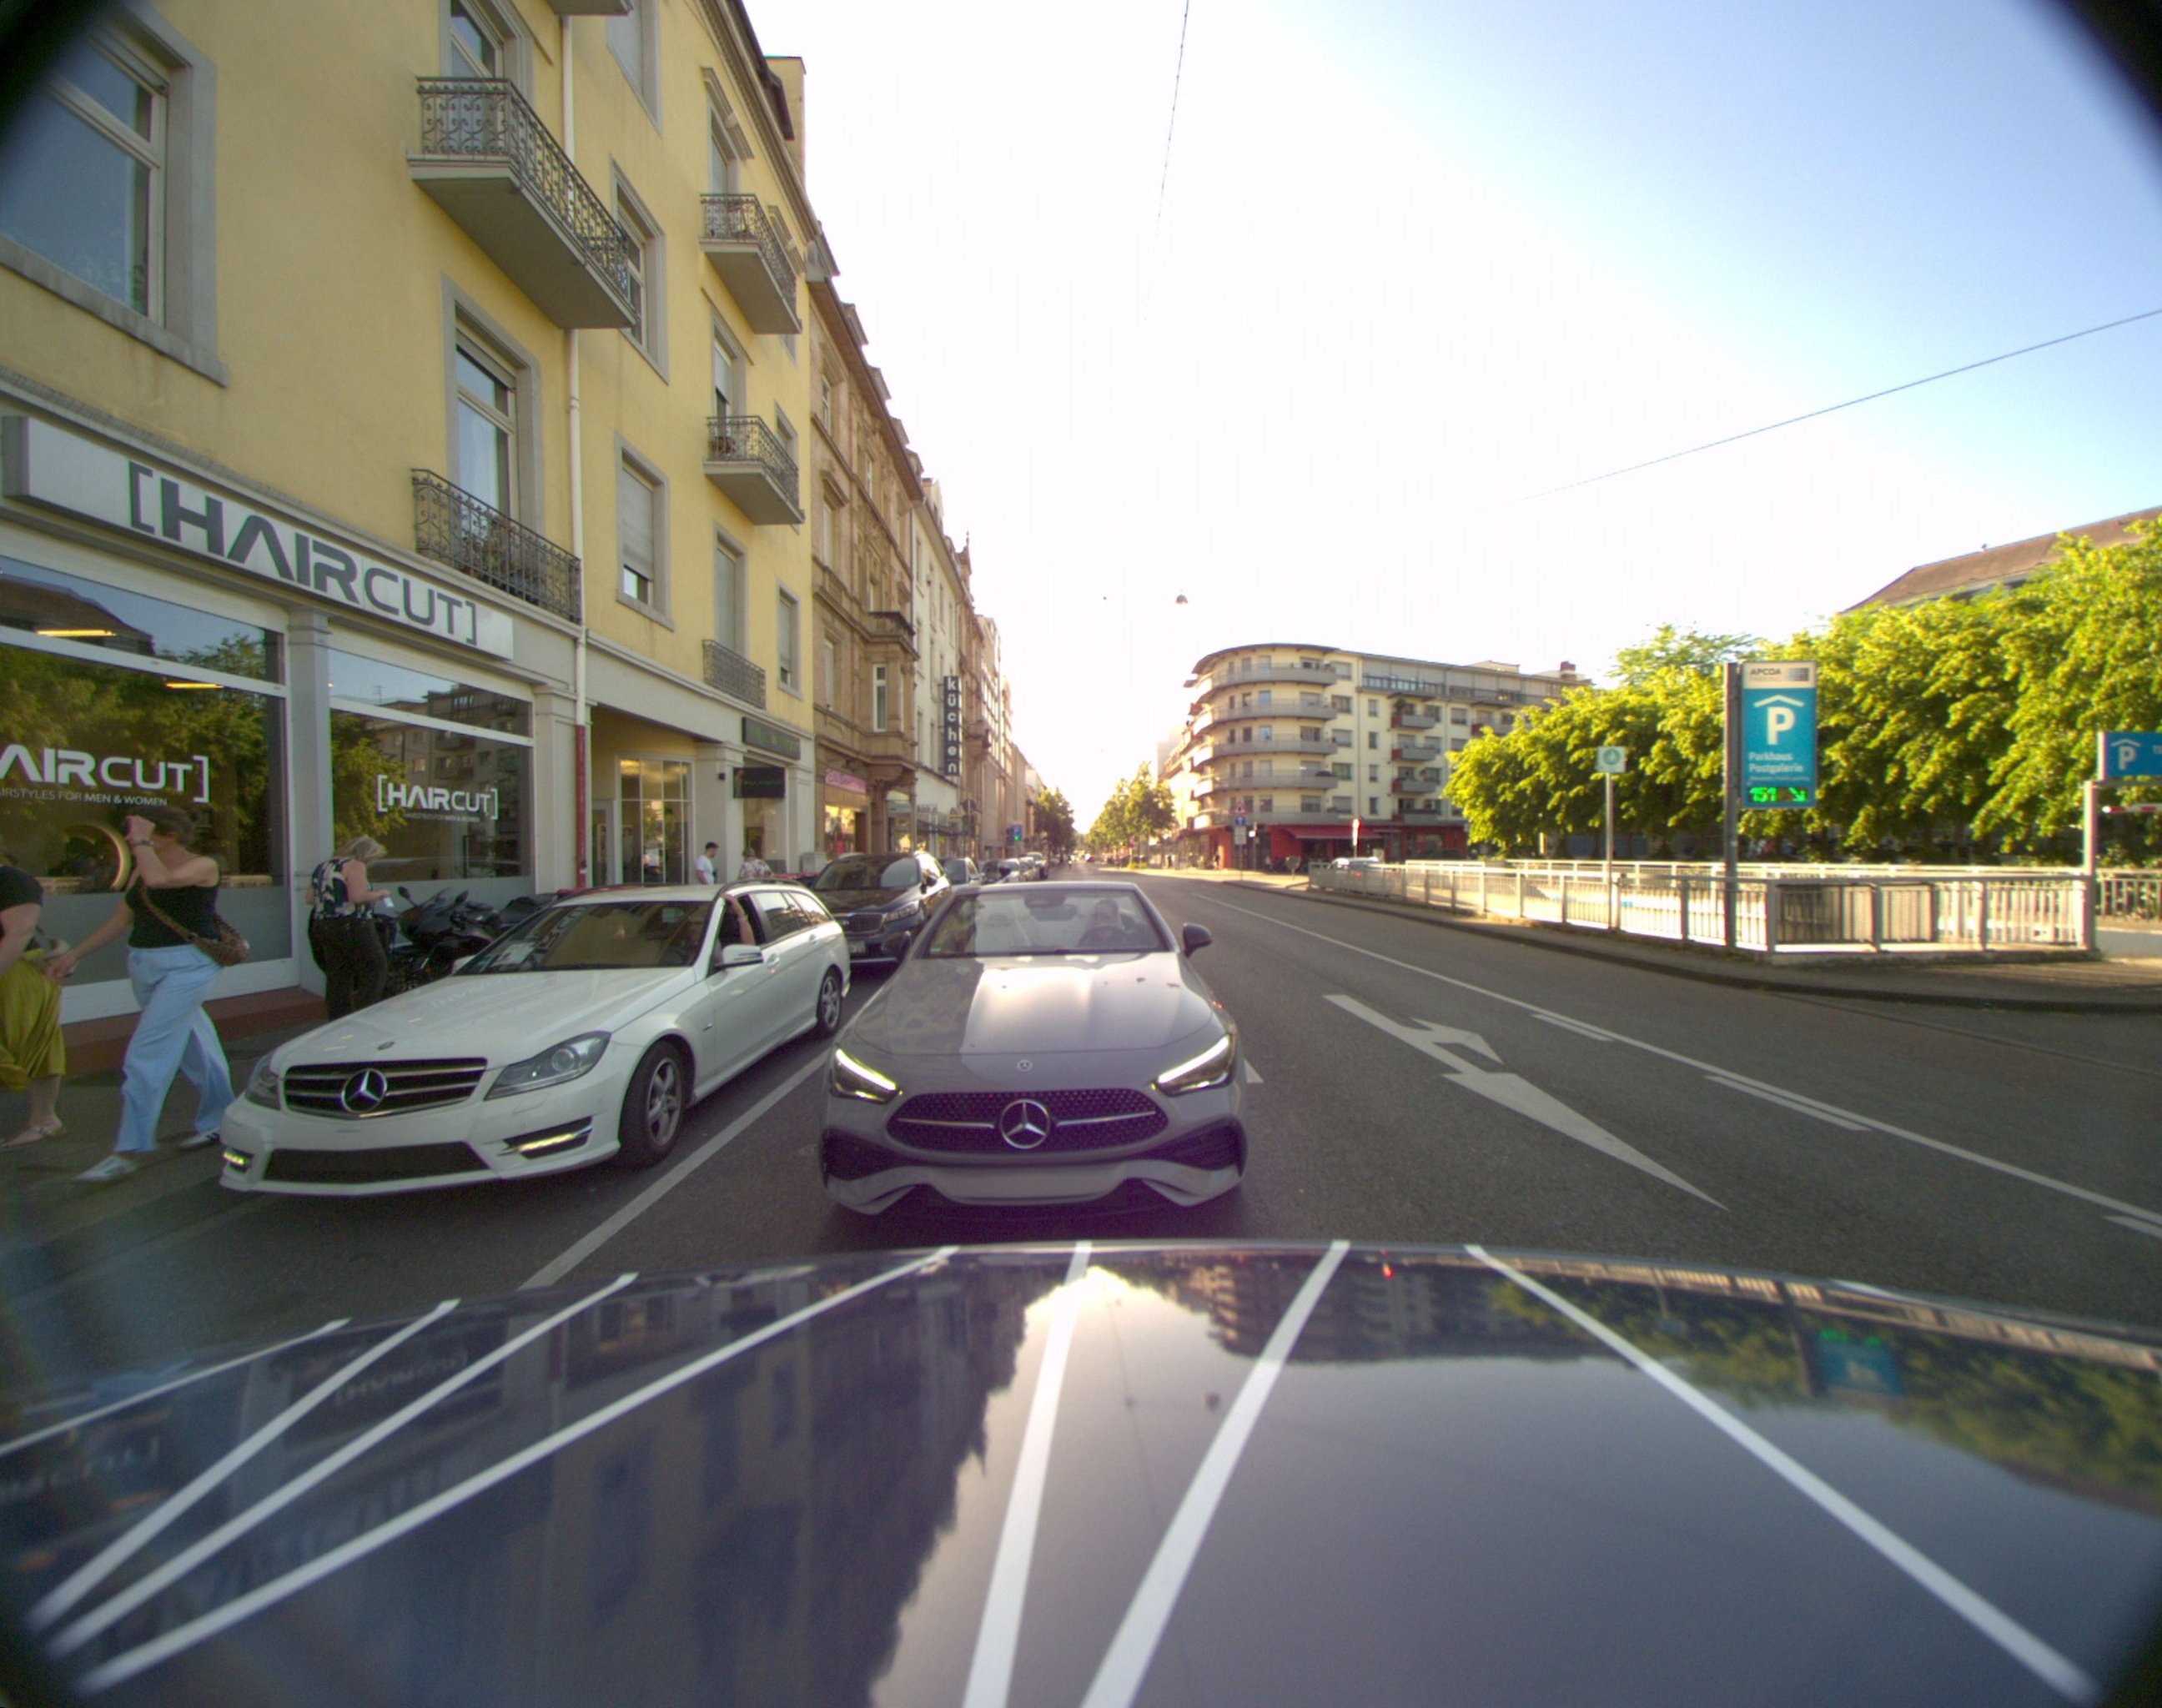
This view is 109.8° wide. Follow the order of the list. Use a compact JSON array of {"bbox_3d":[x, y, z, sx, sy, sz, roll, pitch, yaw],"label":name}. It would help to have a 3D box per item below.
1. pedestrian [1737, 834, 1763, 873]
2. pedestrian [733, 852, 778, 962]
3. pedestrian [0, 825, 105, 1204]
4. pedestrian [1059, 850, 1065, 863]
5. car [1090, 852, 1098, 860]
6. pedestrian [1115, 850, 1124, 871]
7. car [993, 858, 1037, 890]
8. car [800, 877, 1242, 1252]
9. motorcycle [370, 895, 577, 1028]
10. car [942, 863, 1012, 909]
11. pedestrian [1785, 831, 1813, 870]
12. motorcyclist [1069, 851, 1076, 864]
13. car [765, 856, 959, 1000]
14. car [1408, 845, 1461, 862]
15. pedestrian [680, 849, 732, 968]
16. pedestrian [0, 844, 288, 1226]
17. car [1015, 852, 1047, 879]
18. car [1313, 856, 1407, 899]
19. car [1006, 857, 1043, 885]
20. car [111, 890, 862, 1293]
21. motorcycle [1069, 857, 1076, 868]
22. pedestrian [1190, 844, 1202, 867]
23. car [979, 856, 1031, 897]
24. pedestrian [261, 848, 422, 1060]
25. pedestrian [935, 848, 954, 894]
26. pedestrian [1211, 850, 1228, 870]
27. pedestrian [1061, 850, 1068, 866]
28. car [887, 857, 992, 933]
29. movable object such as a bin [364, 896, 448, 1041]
[{"bbox_3d":[30.374,-0.033,34.501,0.647,1.711,0.607,-3,1,-19],"label":"pedestrian"},{"bbox_3d":[-5.699,0.901,13.305,0.576,1.840,0.663,-3,1,-30],"label":"pedestrian"},{"bbox_3d":[-5.451,0.759,3.642,0.744,1.773,0.566,-2,1,-31],"label":"pedestrian"},{"bbox_3d":[-2.873,0.352,112.709,0.792,1.920,0.952,-1,1,-1],"label":"pedestrian"},{"bbox_3d":[2.556,0.306,152.191,1.615,1.534,3.931,-1,0,1],"label":"car"},{"bbox_3d":[3.852,0.624,75.965,0.860,2.002,0.889,-2,1,1],"label":"pedestrian"},{"bbox_3d":[-3.115,0.913,36.474,1.802,1.332,3.838,-2,1,-1],"label":"car"},{"bbox_3d":[-0.224,0.946,5.182,1.802,1.351,3.999,-2,1,1],"label":"car"},{"bbox_3d":[-6.224,1.039,7.947,0.567,1.072,1.954,2,1,1],"label":"motorcycle"},{"bbox_3d":[-3.388,1.014,25.522,1.802,1.259,4.085,-2,1,-1],"label":"car"},{"bbox_3d":[32.262,-0.139,34.142,0.647,1.711,0.608,-2,1,-9],"label":"pedestrian"},{"bbox_3d":[-0.925,0.419,84.105,0.722,1.438,0.705,-2,1,1],"label":"motorcyclist"},{"bbox_3d":[-2.997,0.896,11.350,1.803,1.629,4.243,-2,1,-3],"label":"car"},{"bbox_3d":[29.043,-0.068,62.437,4.004,1.294,1.753,-2,1,-23],"label":"car"},{"bbox_3d":[-6.408,0.911,13.002,0.373,1.971,0.695,0,1,23],"label":"pedestrian"},{"bbox_3d":[-4.487,0.791,3.631,0.658,1.655,0.648,-1,1,5],"label":"pedestrian"},{"bbox_3d":[-3.070,0.688,47.431,1.725,1.506,4.004,-2,1,-1],"label":"car"},{"bbox_3d":[10.375,0.827,28.581,1.823,1.346,4.263,1,1,-2],"label":"car"},{"bbox_3d":[-3.011,0.867,40.874,1.725,1.332,3.668,-2,1,-1],"label":"car"},{"bbox_3d":[-3.070,1.084,5.309,1.704,1.351,4.378,-2,1,1],"label":"car"},{"bbox_3d":[-0.909,0.927,84.098,0.720,1.177,1.906,-2,1,1],"label":"motorcycle"},{"bbox_3d":[10.273,0.167,67.910,0.860,2.002,0.889,-2,1,0],"label":"pedestrian"},{"bbox_3d":[-3.010,0.871,30.735,1.660,1.423,4.085,-2,1,-1],"label":"car"},{"bbox_3d":[-6.035,0.783,6.238,0.719,1.644,0.606,1,1,1],"label":"pedestrian"},{"bbox_3d":[-5.571,0.697,31.068,0.574,1.840,0.665,-2,1,1],"label":"pedestrian"},{"bbox_3d":[11.099,0.466,60.831,0.863,1.586,0.887,-3,1,-38],"label":"pedestrian"},{"bbox_3d":[-2.118,0.469,95.870,0.792,2.002,0.889,-2,1,1],"label":"pedestrian"},{"bbox_3d":[-3.314,0.901,18.583,1.802,1.518,4.085,-2,1,-1],"label":"car"},{"bbox_3d":[-5.994,1.002,6.760,0.391,1.231,0.394,1,1,1],"label":"movable object such as a bin"}]
